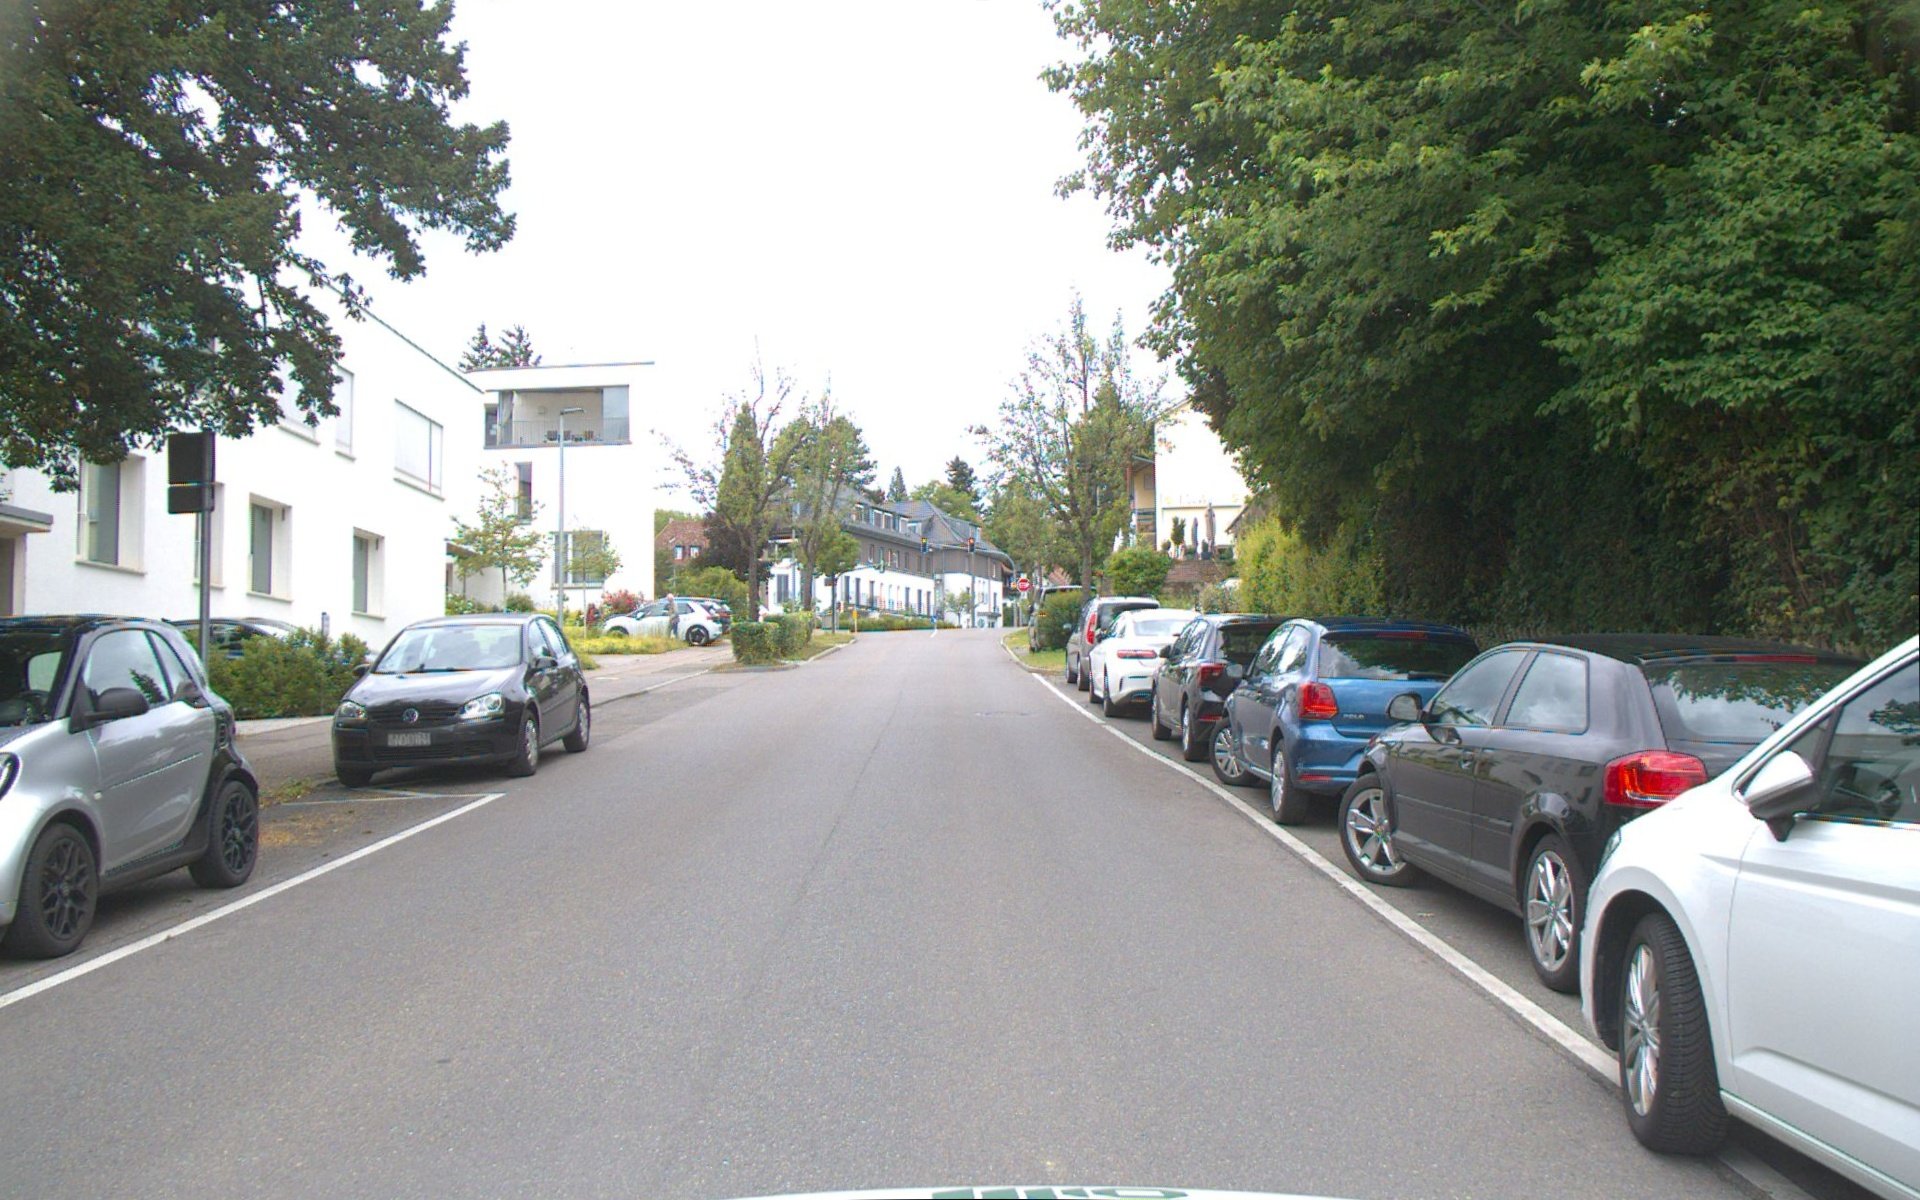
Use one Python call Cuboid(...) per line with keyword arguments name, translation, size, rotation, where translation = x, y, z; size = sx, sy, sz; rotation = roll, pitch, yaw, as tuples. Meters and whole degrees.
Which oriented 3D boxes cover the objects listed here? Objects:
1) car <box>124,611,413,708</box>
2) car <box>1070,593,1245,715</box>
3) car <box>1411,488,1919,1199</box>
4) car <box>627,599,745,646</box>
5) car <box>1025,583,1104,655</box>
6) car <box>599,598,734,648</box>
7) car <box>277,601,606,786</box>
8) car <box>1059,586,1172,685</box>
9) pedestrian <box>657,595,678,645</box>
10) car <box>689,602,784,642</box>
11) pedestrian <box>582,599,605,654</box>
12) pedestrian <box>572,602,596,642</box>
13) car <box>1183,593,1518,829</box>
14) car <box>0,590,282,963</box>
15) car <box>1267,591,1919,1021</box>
Cuboid(name="car", translation=(-10.561, 0.887, 25.476), size=(3.721, 1.378, 1.739), rotation=(-1, 0, -6))
Cuboid(name="car", translation=(2.714, 0.698, 23.829), size=(1.952, 1.517, 5.005), rotation=(-2, 0, 1))
Cuboid(name="car", translation=(2.732, 0.584, 3.404), size=(1.961, 1.637, 4.754), rotation=(-2, 0, -5))
Cuboid(name="car", translation=(-9.955, 0.803, 60.299), size=(3.905, 1.682, 2.009), rotation=(0, 0, 1))
Cuboid(name="car", translation=(2.879, 0.519, 46.442), size=(1.896, 1.870, 5.219), rotation=(-1, 0, 0))
Cuboid(name="car", translation=(-10.195, 0.790, 57.676), size=(4.298, 1.594, 2.066), rotation=(-2, 0, -2))
Cuboid(name="car", translation=(-4.848, 0.788, 16.225), size=(1.813, 1.495, 4.681), rotation=(-2, 0, -1))
Cuboid(name="car", translation=(2.769, 0.624, 30.141), size=(1.681, 1.661, 3.928), rotation=(1, 0, 0))
Cuboid(name="pedestrian", translation=(-9.802, 0.665, 55.439), size=(0.581, 1.669, 0.565), rotation=(-2, -1, 1))
Cuboid(name="car", translation=(-10.311, 1.034, 76.515), size=(4.175, 1.652, 2.012), rotation=(-2, -2, -3))
Cuboid(name="pedestrian", translation=(-11.561, 0.828, 52.167), size=(0.576, 1.711, 0.519), rotation=(-1, -1, 1))
Cuboid(name="pedestrian", translation=(-12.560, 0.737, 55.297), size=(0.594, 1.305, 0.899), rotation=(0, -1, 0))
Cuboid(name="car", translation=(2.868, 0.743, 13.049), size=(1.663, 1.534, 4.160), rotation=(1, 0, 0))
Cuboid(name="car", translation=(-4.810, 0.777, 8.290), size=(1.591, 1.545, 2.974), rotation=(-2, -1, -1))
Cuboid(name="car", translation=(2.953, 0.738, 8.075), size=(1.774, 1.478, 4.374), rotation=(-1, 0, -4))
